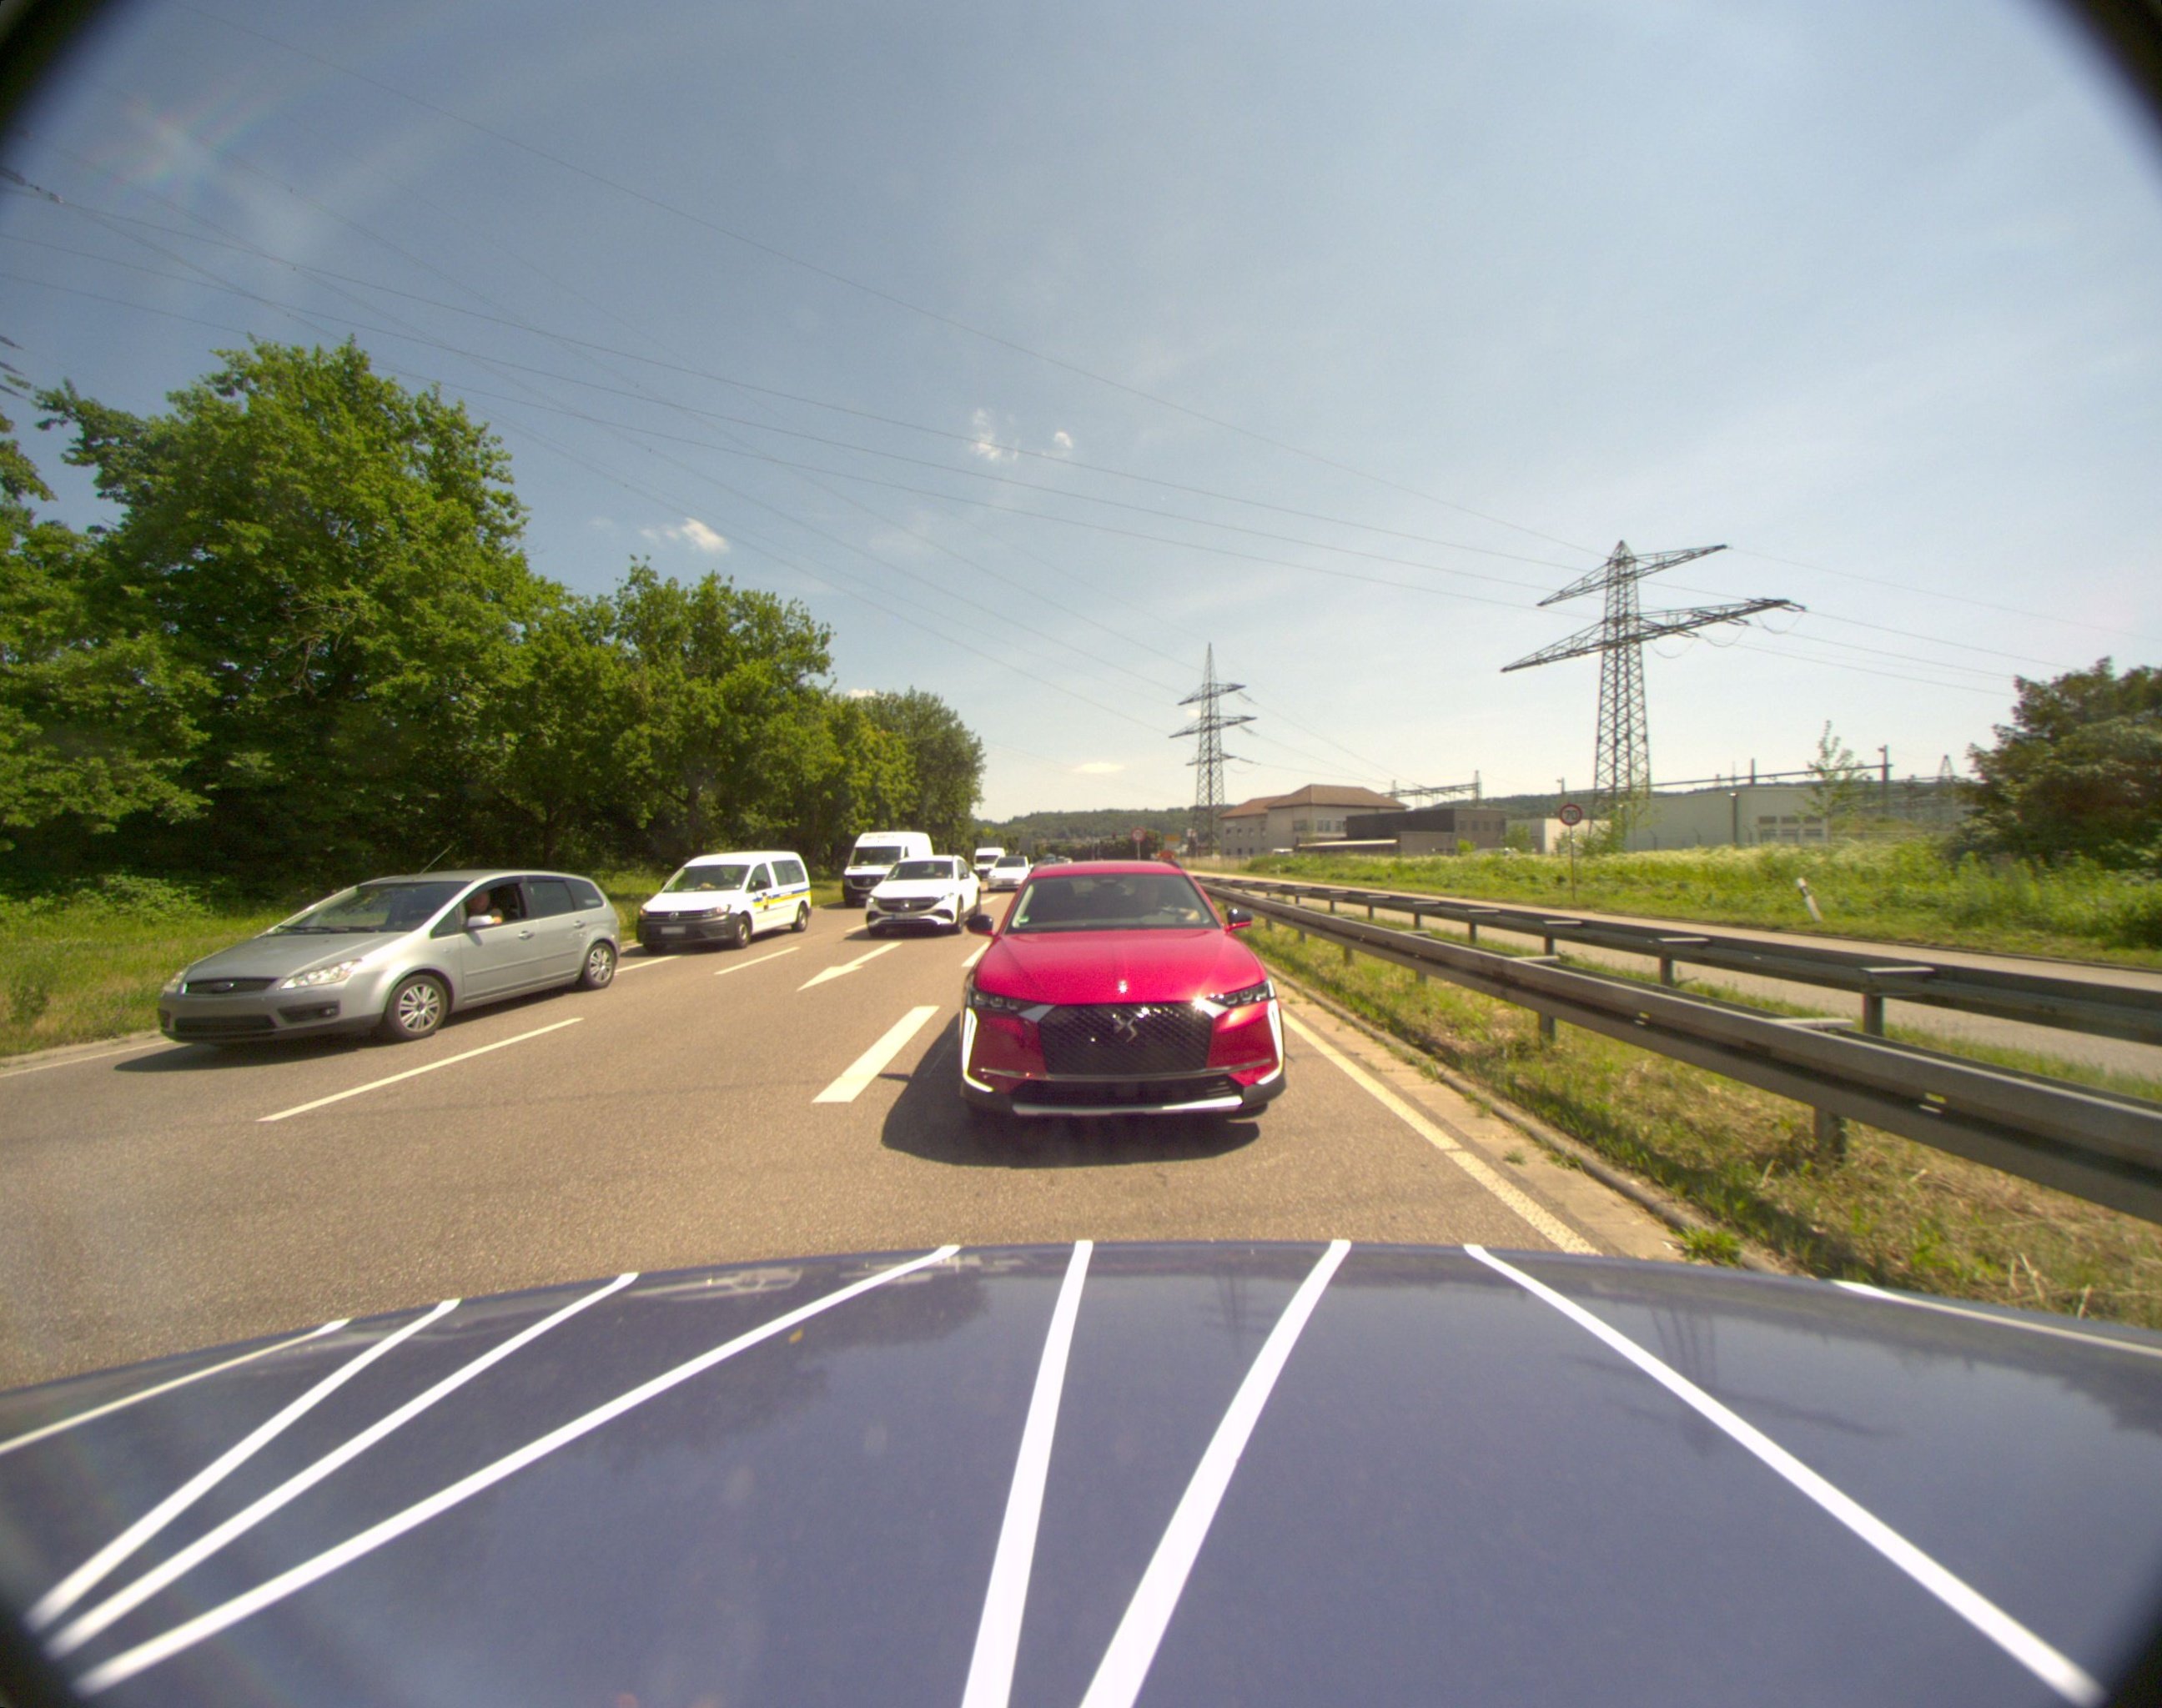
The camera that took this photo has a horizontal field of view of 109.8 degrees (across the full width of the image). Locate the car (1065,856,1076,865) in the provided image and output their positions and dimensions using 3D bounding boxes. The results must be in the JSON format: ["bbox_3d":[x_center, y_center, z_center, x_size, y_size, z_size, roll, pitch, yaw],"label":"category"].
[{"bbox_3d":[-2.208,1.407,158.072,1.998,1.752,4.000,0,0,2],"label":"car"}]

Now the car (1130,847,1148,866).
[{"bbox_3d":[9.839,0.422,130.228,2.607,3.043,5.638,0,0,0],"label":"car"}]

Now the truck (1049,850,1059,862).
[{"bbox_3d":[-6.097,0.471,174.433,2.170,2.428,4.909,-2,1,-2],"label":"truck"}]

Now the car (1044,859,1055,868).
[{"bbox_3d":[-6.387,1.915,153.381,1.998,1.808,3.999,-2,1,1],"label":"car"}]

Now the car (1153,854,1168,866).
[{"bbox_3d":[14.112,1.008,135.535,1.999,1.904,3.998,-2,1,-3],"label":"car"}]

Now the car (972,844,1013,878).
[{"bbox_3d":[-6.658,0.515,57.883,2.308,2.408,5.814,-2,0,1],"label":"car"}]

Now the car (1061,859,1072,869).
[{"bbox_3d":[-2.788,1.865,143.233,1.878,1.674,3.998,-2,1,-2],"label":"car"}]

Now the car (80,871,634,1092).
[{"bbox_3d":[-6.985,1.062,8.146,1.747,1.585,4.272,-2,0,1],"label":"car"}]

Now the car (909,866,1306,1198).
[{"bbox_3d":[0.155,0.891,5.840,1.846,1.453,4.414,-2,0,1],"label":"car"}]

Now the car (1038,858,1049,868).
[{"bbox_3d":[-6.536,1.570,133.514,1.878,1.674,3.998,-2,1,-2],"label":"car"}]

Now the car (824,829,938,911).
[{"bbox_3d":[-7.114,0.508,28.035,2.232,2.592,7.018,-2,0,0],"label":"car"}]

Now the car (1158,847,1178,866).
[{"bbox_3d":[14.357,0.387,125.654,2.607,3.043,5.638,0,0,0],"label":"car"}]

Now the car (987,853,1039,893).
[{"bbox_3d":[-3.082,0.813,35.132,2.022,1.671,3.999,-2,0,-1],"label":"car"}]

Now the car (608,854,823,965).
[{"bbox_3d":[-6.983,0.926,15.249,1.809,1.790,5.037,-2,0,0],"label":"car"}]

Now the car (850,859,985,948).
[{"bbox_3d":[-3.317,0.928,16.305,1.850,1.559,4.363,-2,0,1],"label":"car"}]
